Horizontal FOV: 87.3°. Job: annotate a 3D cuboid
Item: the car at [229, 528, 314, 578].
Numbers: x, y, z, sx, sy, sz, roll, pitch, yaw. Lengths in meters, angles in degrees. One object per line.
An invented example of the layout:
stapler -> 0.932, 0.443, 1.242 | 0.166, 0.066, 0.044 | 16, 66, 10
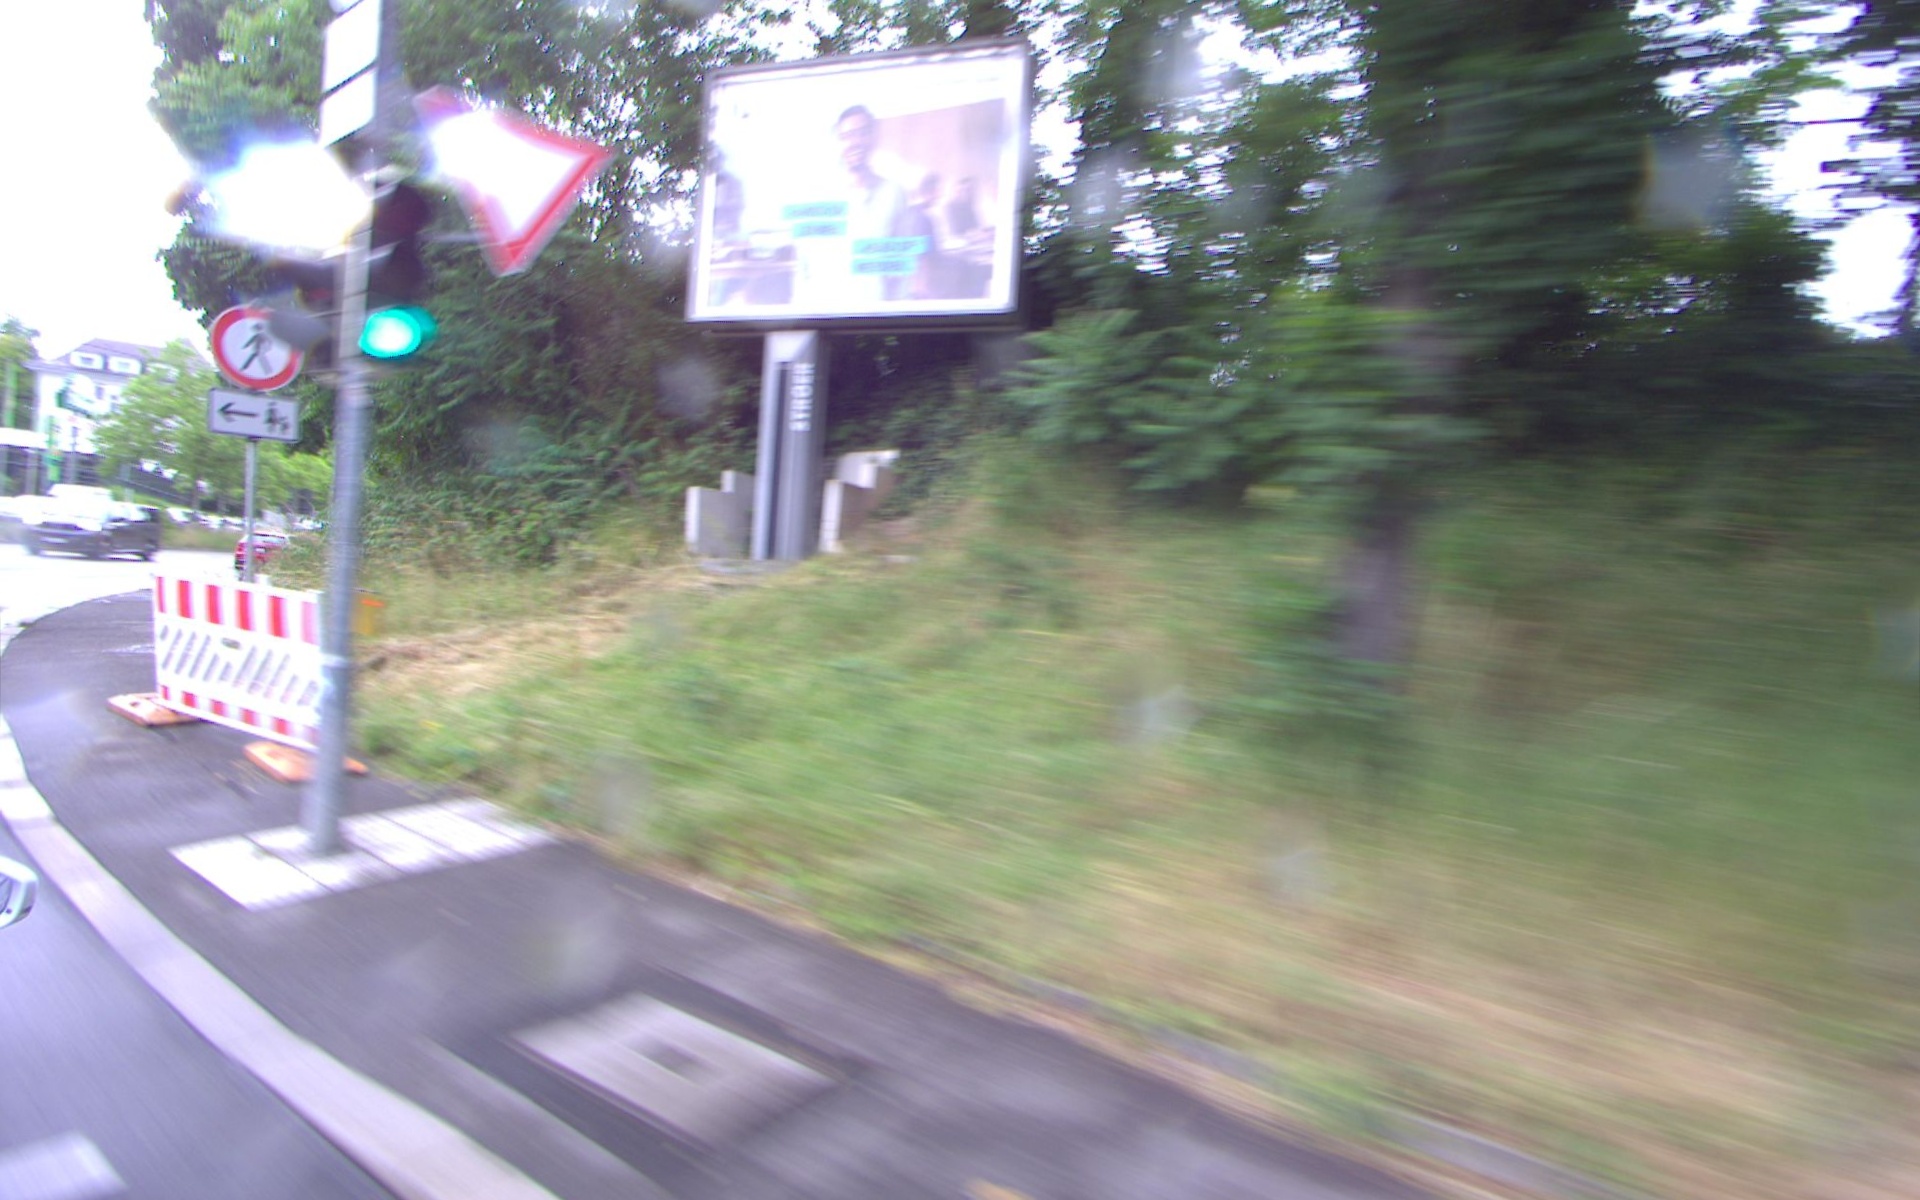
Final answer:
car -> -24.658, -1.634, 36.146 | 1.675, 1.442, 3.355 | 6, -2, -21

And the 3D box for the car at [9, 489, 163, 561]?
car -> -27.726, -2.309, 32.155 | 1.992, 1.890, 5.018 | 4, 0, -21

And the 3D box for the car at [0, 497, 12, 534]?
car -> -45.475, -3.974, 46.180 | 1.575, 1.718, 3.759 | 4, 1, -23

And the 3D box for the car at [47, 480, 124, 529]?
car -> -52.291, -5.655, 60.293 | 1.943, 2.476, 5.619 | 4, 1, -25
